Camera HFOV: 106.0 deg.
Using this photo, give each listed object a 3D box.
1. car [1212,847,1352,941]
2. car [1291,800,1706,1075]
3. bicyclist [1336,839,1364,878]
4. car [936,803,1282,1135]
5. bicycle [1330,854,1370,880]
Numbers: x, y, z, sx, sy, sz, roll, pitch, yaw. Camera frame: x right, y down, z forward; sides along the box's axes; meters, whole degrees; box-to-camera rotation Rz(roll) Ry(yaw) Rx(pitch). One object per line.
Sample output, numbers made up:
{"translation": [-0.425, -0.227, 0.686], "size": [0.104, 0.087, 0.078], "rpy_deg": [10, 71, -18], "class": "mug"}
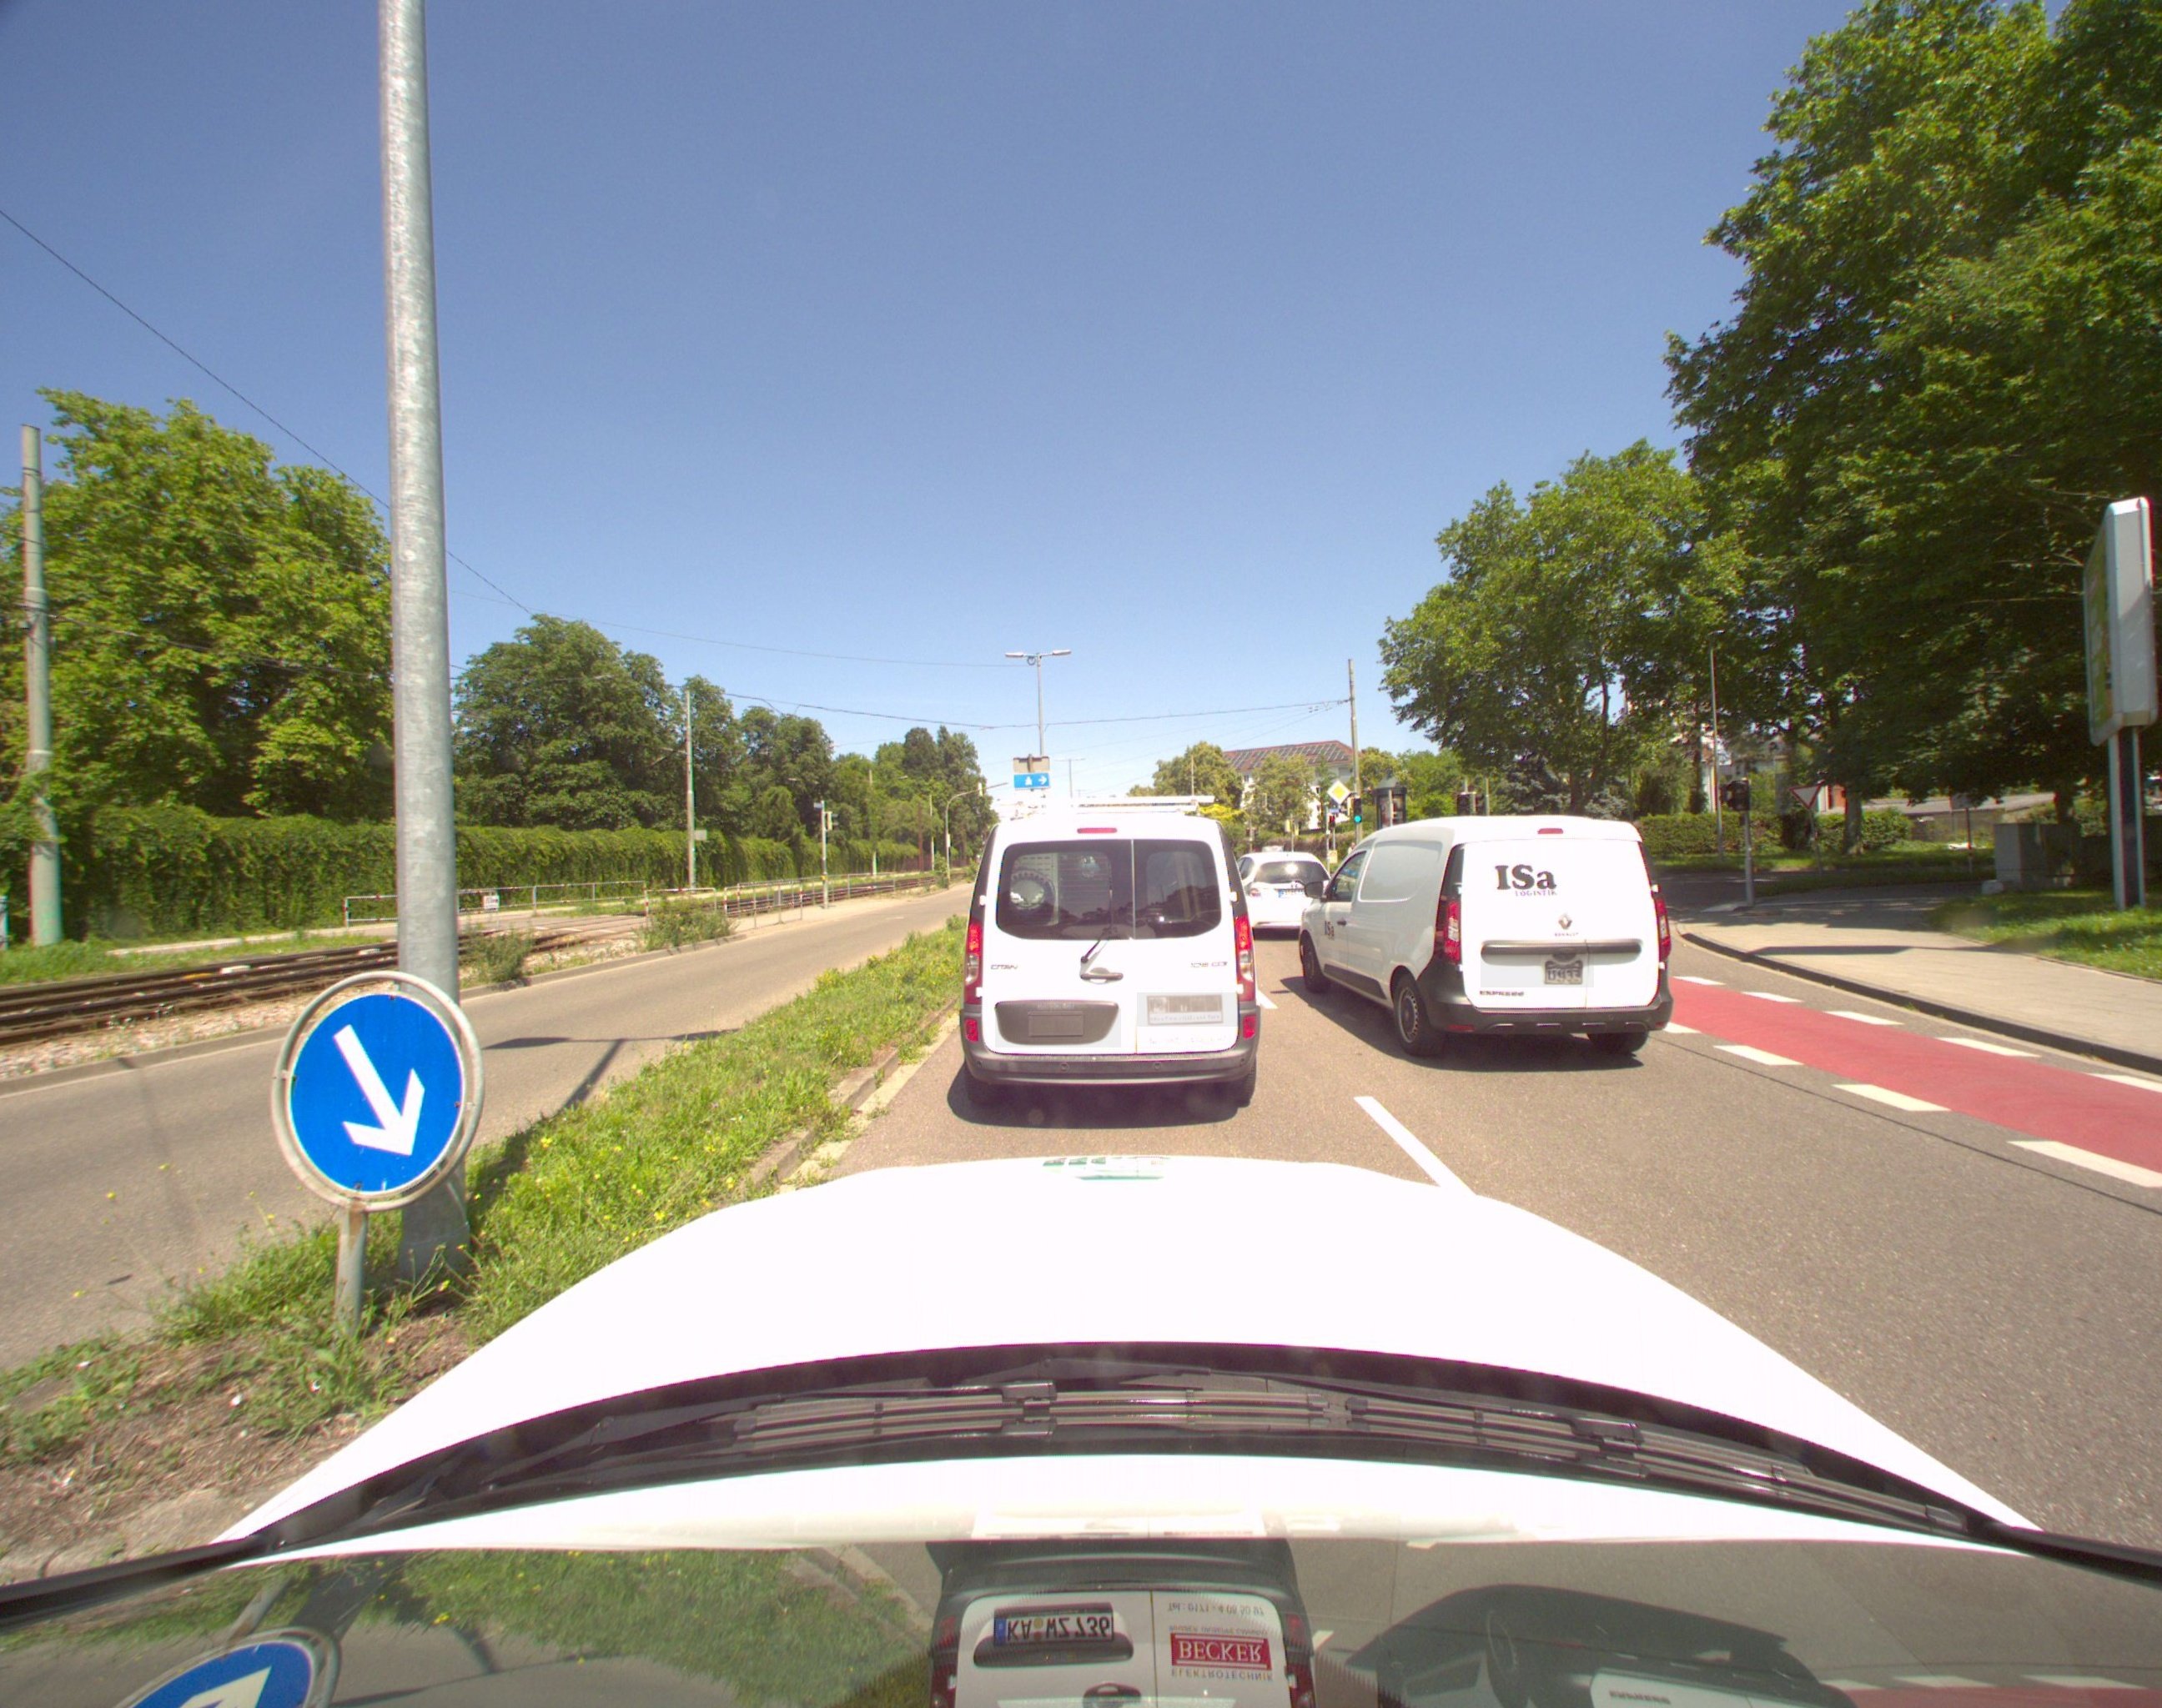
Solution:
{"translation": [3.689, 0.653, 15.643], "size": [1.828, 1.568, 4.002], "rpy_deg": [0, 0, 2], "class": "car"}
{"translation": [3.259, 0.554, 7.373], "size": [1.721, 1.788, 4.065], "rpy_deg": [0, 0, 1], "class": "car"}
{"translation": [12.646, 0.200, 38.242], "size": [0.974, 1.788, 0.723], "rpy_deg": [-1, -1, -12], "class": "bicyclist"}
{"translation": [0.216, 0.621, 6.549], "size": [1.814, 1.739, 4.398], "rpy_deg": [-1, 0, 2], "class": "car"}
{"translation": [12.618, 0.599, 38.261], "size": [0.893, 1.159, 1.948], "rpy_deg": [-1, -1, -12], "class": "bicycle"}
